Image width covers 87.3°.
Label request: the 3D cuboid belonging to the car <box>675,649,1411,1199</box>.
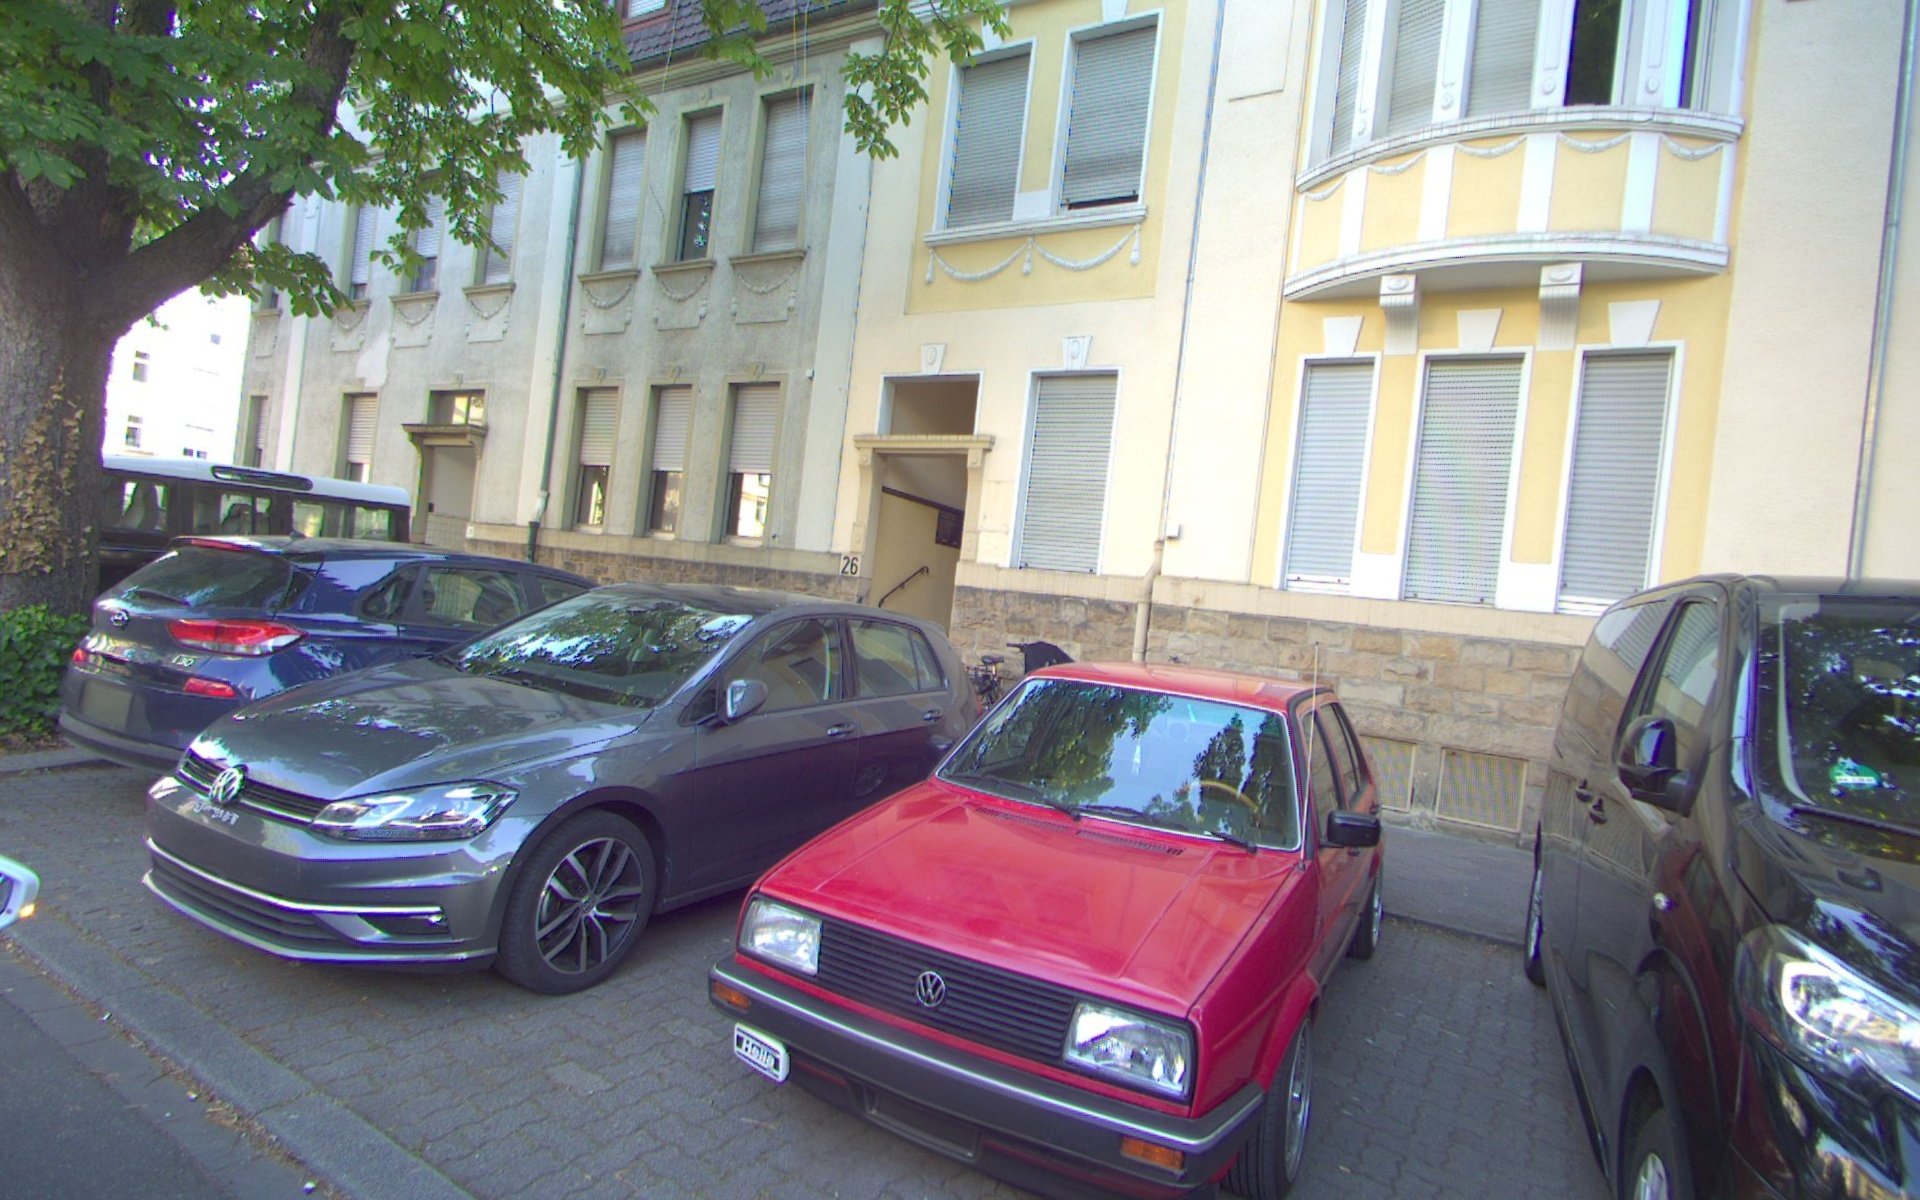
[{"bbox_3d":[0.834,0.962,4.233,1.532,1.337,3.916,6,0,29],"label":"car"}]

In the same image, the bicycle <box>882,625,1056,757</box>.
[{"bbox_3d":[0.068,0.898,10.337,1.675,1.090,0.500,7,2,32],"label":"bicycle"}]

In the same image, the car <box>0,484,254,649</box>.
[{"bbox_3d":[-9.999,-0.392,10.813,1.680,1.606,3.488,7,0,26],"label":"car"}]

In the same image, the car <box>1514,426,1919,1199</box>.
[{"bbox_3d":[2.881,0.899,2.953,1.848,1.847,4.829,6,0,27],"label":"car"}]

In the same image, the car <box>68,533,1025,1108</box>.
[{"bbox_3d":[-1.328,0.653,4.811,1.600,1.440,4.054,6,0,29],"label":"car"}]

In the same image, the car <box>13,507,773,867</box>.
[{"bbox_3d":[-3.040,0.417,6.226,1.600,1.440,3.754,6,0,29],"label":"car"}]

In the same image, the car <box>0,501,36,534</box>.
[{"bbox_3d":[-36.406,-3.251,36.921,1.357,1.081,3.370,7,-1,30],"label":"car"}]

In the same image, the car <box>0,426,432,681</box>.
[{"bbox_3d":[-7.617,-0.382,9.319,1.762,1.981,4.496,7,1,29],"label":"car"}]

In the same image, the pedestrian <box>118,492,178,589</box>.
[{"bbox_3d":[-16.590,-1.207,20.565,0.565,1.867,0.633,7,0,28],"label":"pedestrian"}]
